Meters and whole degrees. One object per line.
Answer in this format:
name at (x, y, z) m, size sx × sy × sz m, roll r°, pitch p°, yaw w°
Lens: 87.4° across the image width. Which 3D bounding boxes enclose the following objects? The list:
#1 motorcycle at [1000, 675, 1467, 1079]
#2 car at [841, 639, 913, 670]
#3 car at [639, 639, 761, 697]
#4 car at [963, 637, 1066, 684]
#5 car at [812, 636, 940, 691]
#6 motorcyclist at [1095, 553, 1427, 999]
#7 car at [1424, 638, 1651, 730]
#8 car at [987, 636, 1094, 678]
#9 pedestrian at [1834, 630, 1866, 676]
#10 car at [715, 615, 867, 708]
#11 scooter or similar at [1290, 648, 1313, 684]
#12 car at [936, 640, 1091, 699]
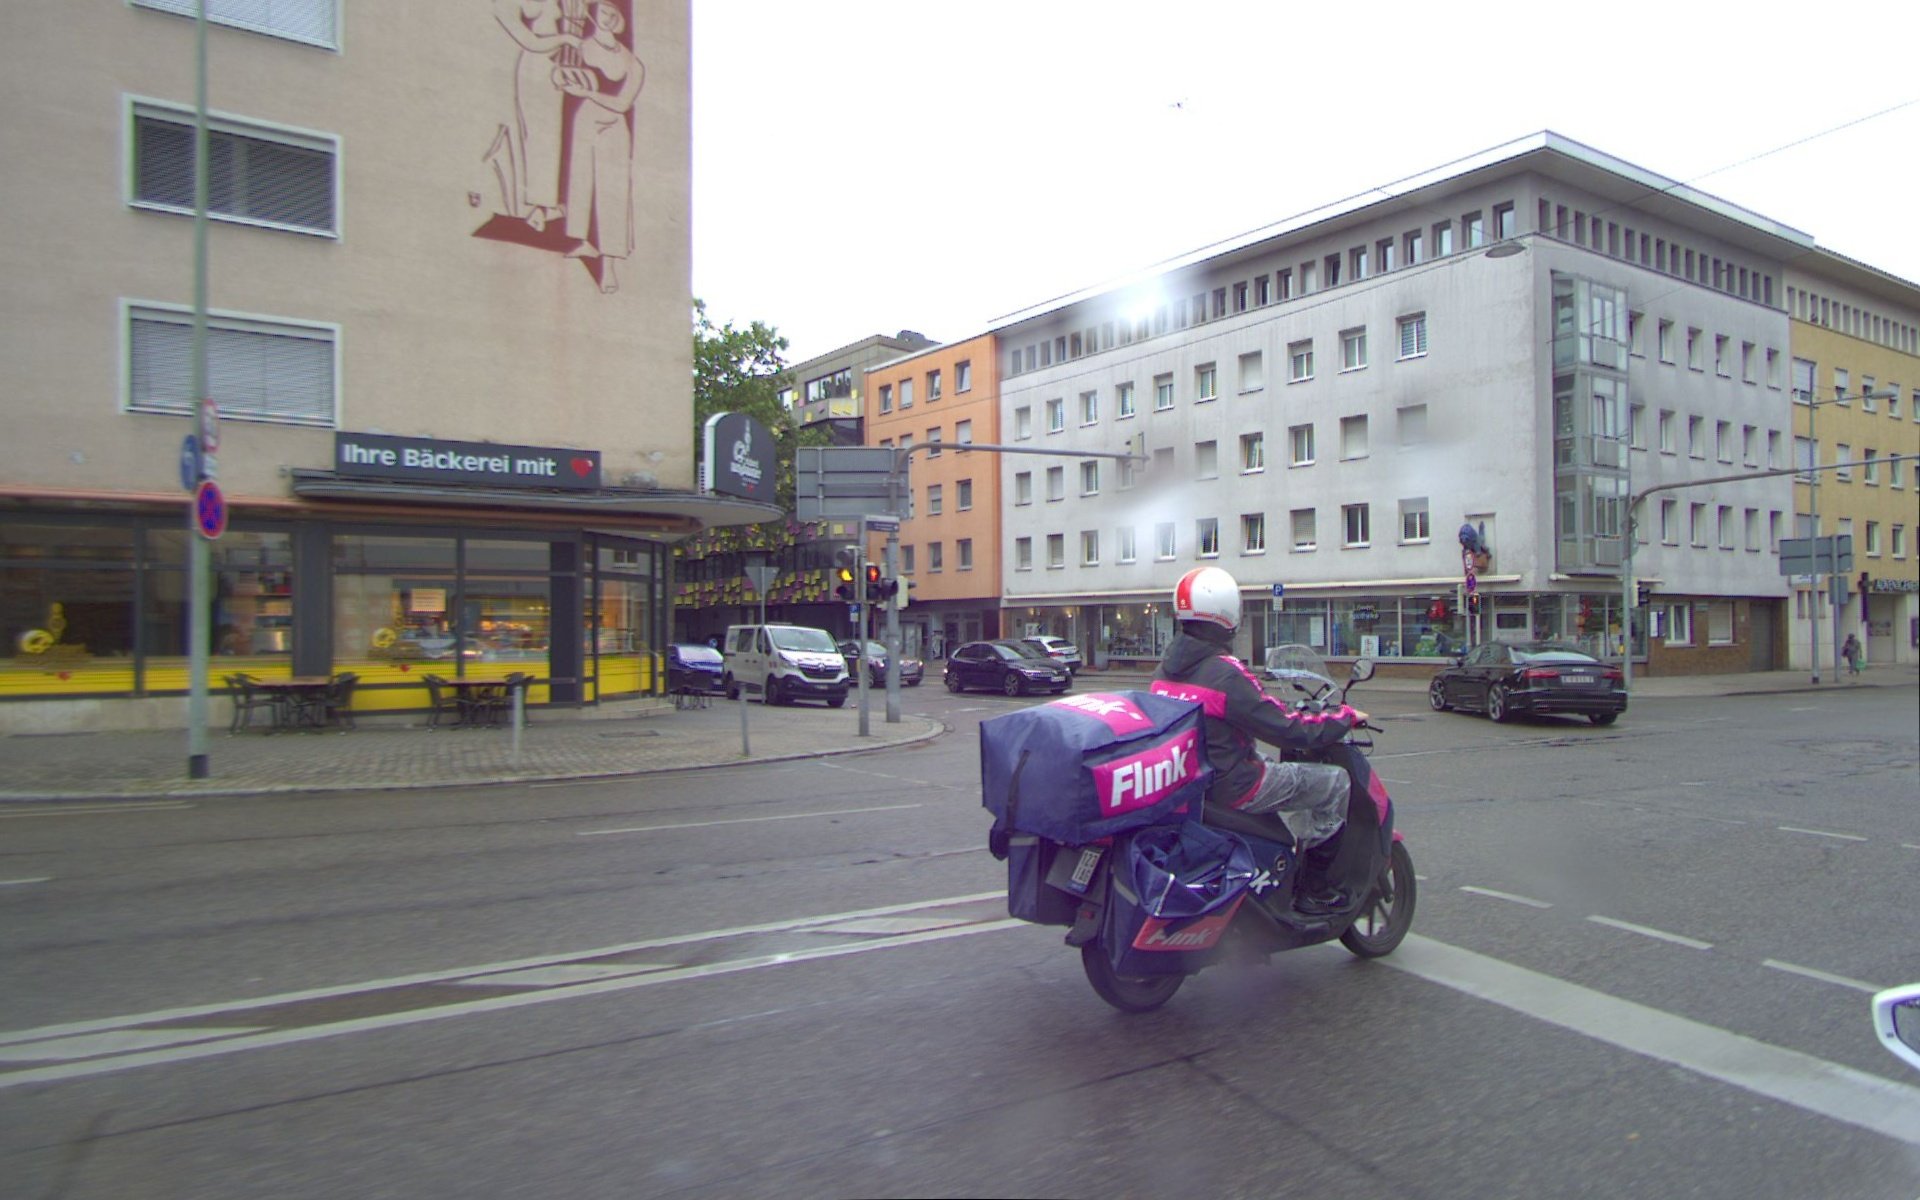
motorcycle at (1.177, 0.941, 4.021) m, size 2.080 × 1.207 × 0.583 m, roll 2°, pitch -1°, yaw -34°
car at (-4.205, 2.698, 50.399) m, size 1.836 × 1.491 × 3.796 m, roll 1°, pitch -2°, yaw -38°
car at (-7.873, 2.016, 30.191) m, size 2.028 × 1.575 × 4.295 m, roll 4°, pitch -4°, yaw -37°
car at (1.972, 2.230, 37.381) m, size 1.683 × 1.648 × 3.957 m, roll 2°, pitch -4°, yaw -38°
car at (-2.839, 2.003, 32.936) m, size 2.028 × 1.610 × 4.607 m, roll -1°, pitch -1°, yaw -37°
motorcyclist at (1.183, 0.602, 4.024) m, size 0.855 × 1.513 × 0.909 m, roll 2°, pitch 0°, yaw -34°
car at (10.208, 1.427, 18.227) m, size 1.959 × 1.406 × 4.503 m, roll -1°, pitch -2°, yaw 7°
car at (3.289, 2.323, 41.785) m, size 2.031 × 1.652 × 4.288 m, roll 2°, pitch -3°, yaw -41°
pedestrian at (32.328, 1.921, 36.482) m, size 0.644 × 1.602 × 0.684 m, roll 1°, pitch 1°, yaw -28°
car at (-4.415, 1.538, 25.569) m, size 2.025 × 2.130 × 4.824 m, roll 4°, pitch -4°, yaw -32°
scooter or similar at (11.274, 2.181, 33.145) m, size 0.360 × 1.109 × 1.131 m, roll -3°, pitch -1°, yaw 37°
car at (1.388, 1.852, 27.702) m, size 2.027 × 1.394 × 4.295 m, roll -1°, pitch -1°, yaw -37°
